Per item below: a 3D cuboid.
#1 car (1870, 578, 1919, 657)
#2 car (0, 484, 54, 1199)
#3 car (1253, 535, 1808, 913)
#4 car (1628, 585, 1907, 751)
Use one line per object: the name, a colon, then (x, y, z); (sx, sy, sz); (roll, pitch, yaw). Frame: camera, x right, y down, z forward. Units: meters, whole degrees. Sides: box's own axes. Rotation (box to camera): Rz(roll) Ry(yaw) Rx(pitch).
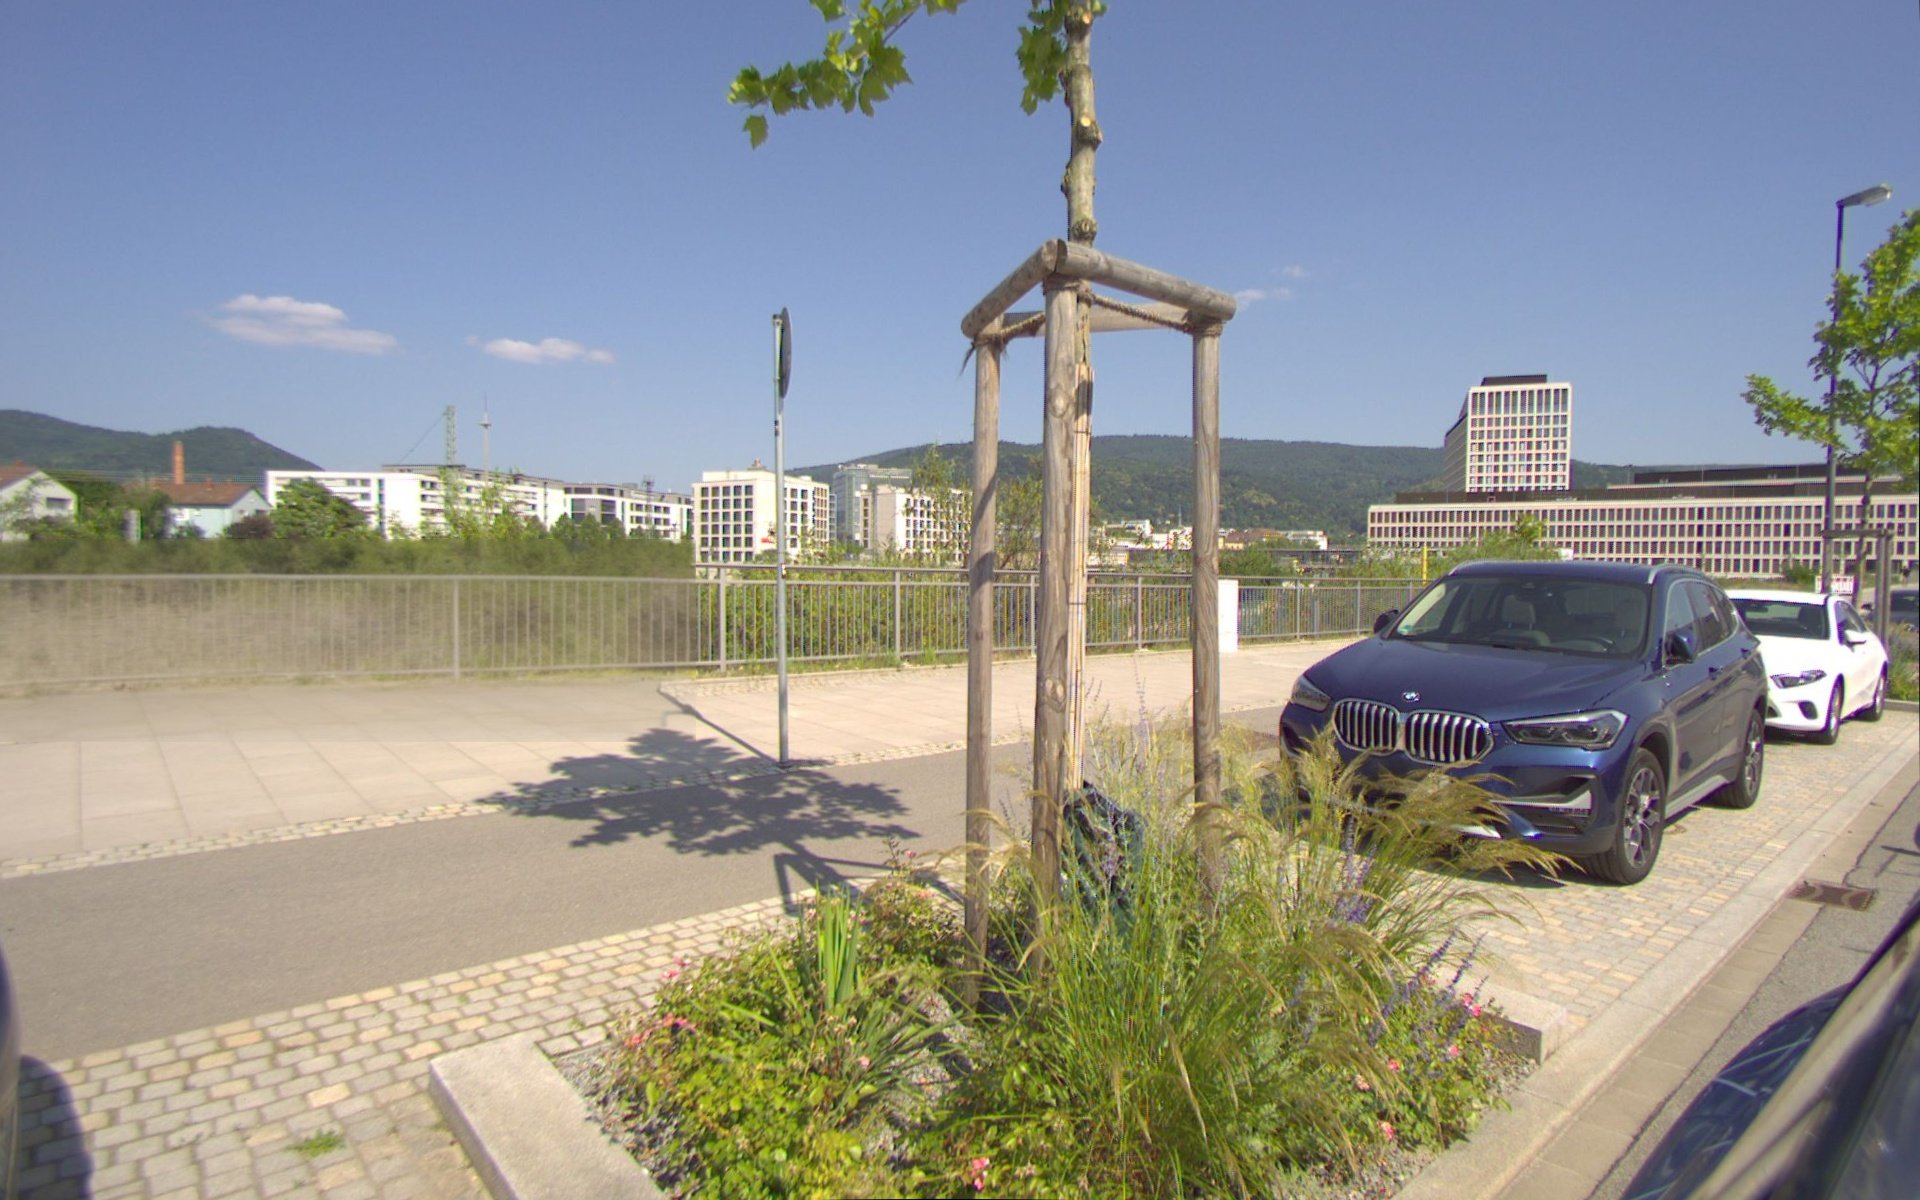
car: (20.382, 0.323, 21.064); (3.930, 1.558, 1.663); (-1, 0, -41)
car: (-3.002, 0.569, 0.372); (3.931, 1.443, 1.664); (-1, 4, -41)
car: (3.798, 0.507, 6.401); (4.164, 1.627, 1.768); (-1, 0, -41)
car: (8.762, 0.578, 10.871); (3.930, 1.473, 1.663); (-1, 0, -41)
